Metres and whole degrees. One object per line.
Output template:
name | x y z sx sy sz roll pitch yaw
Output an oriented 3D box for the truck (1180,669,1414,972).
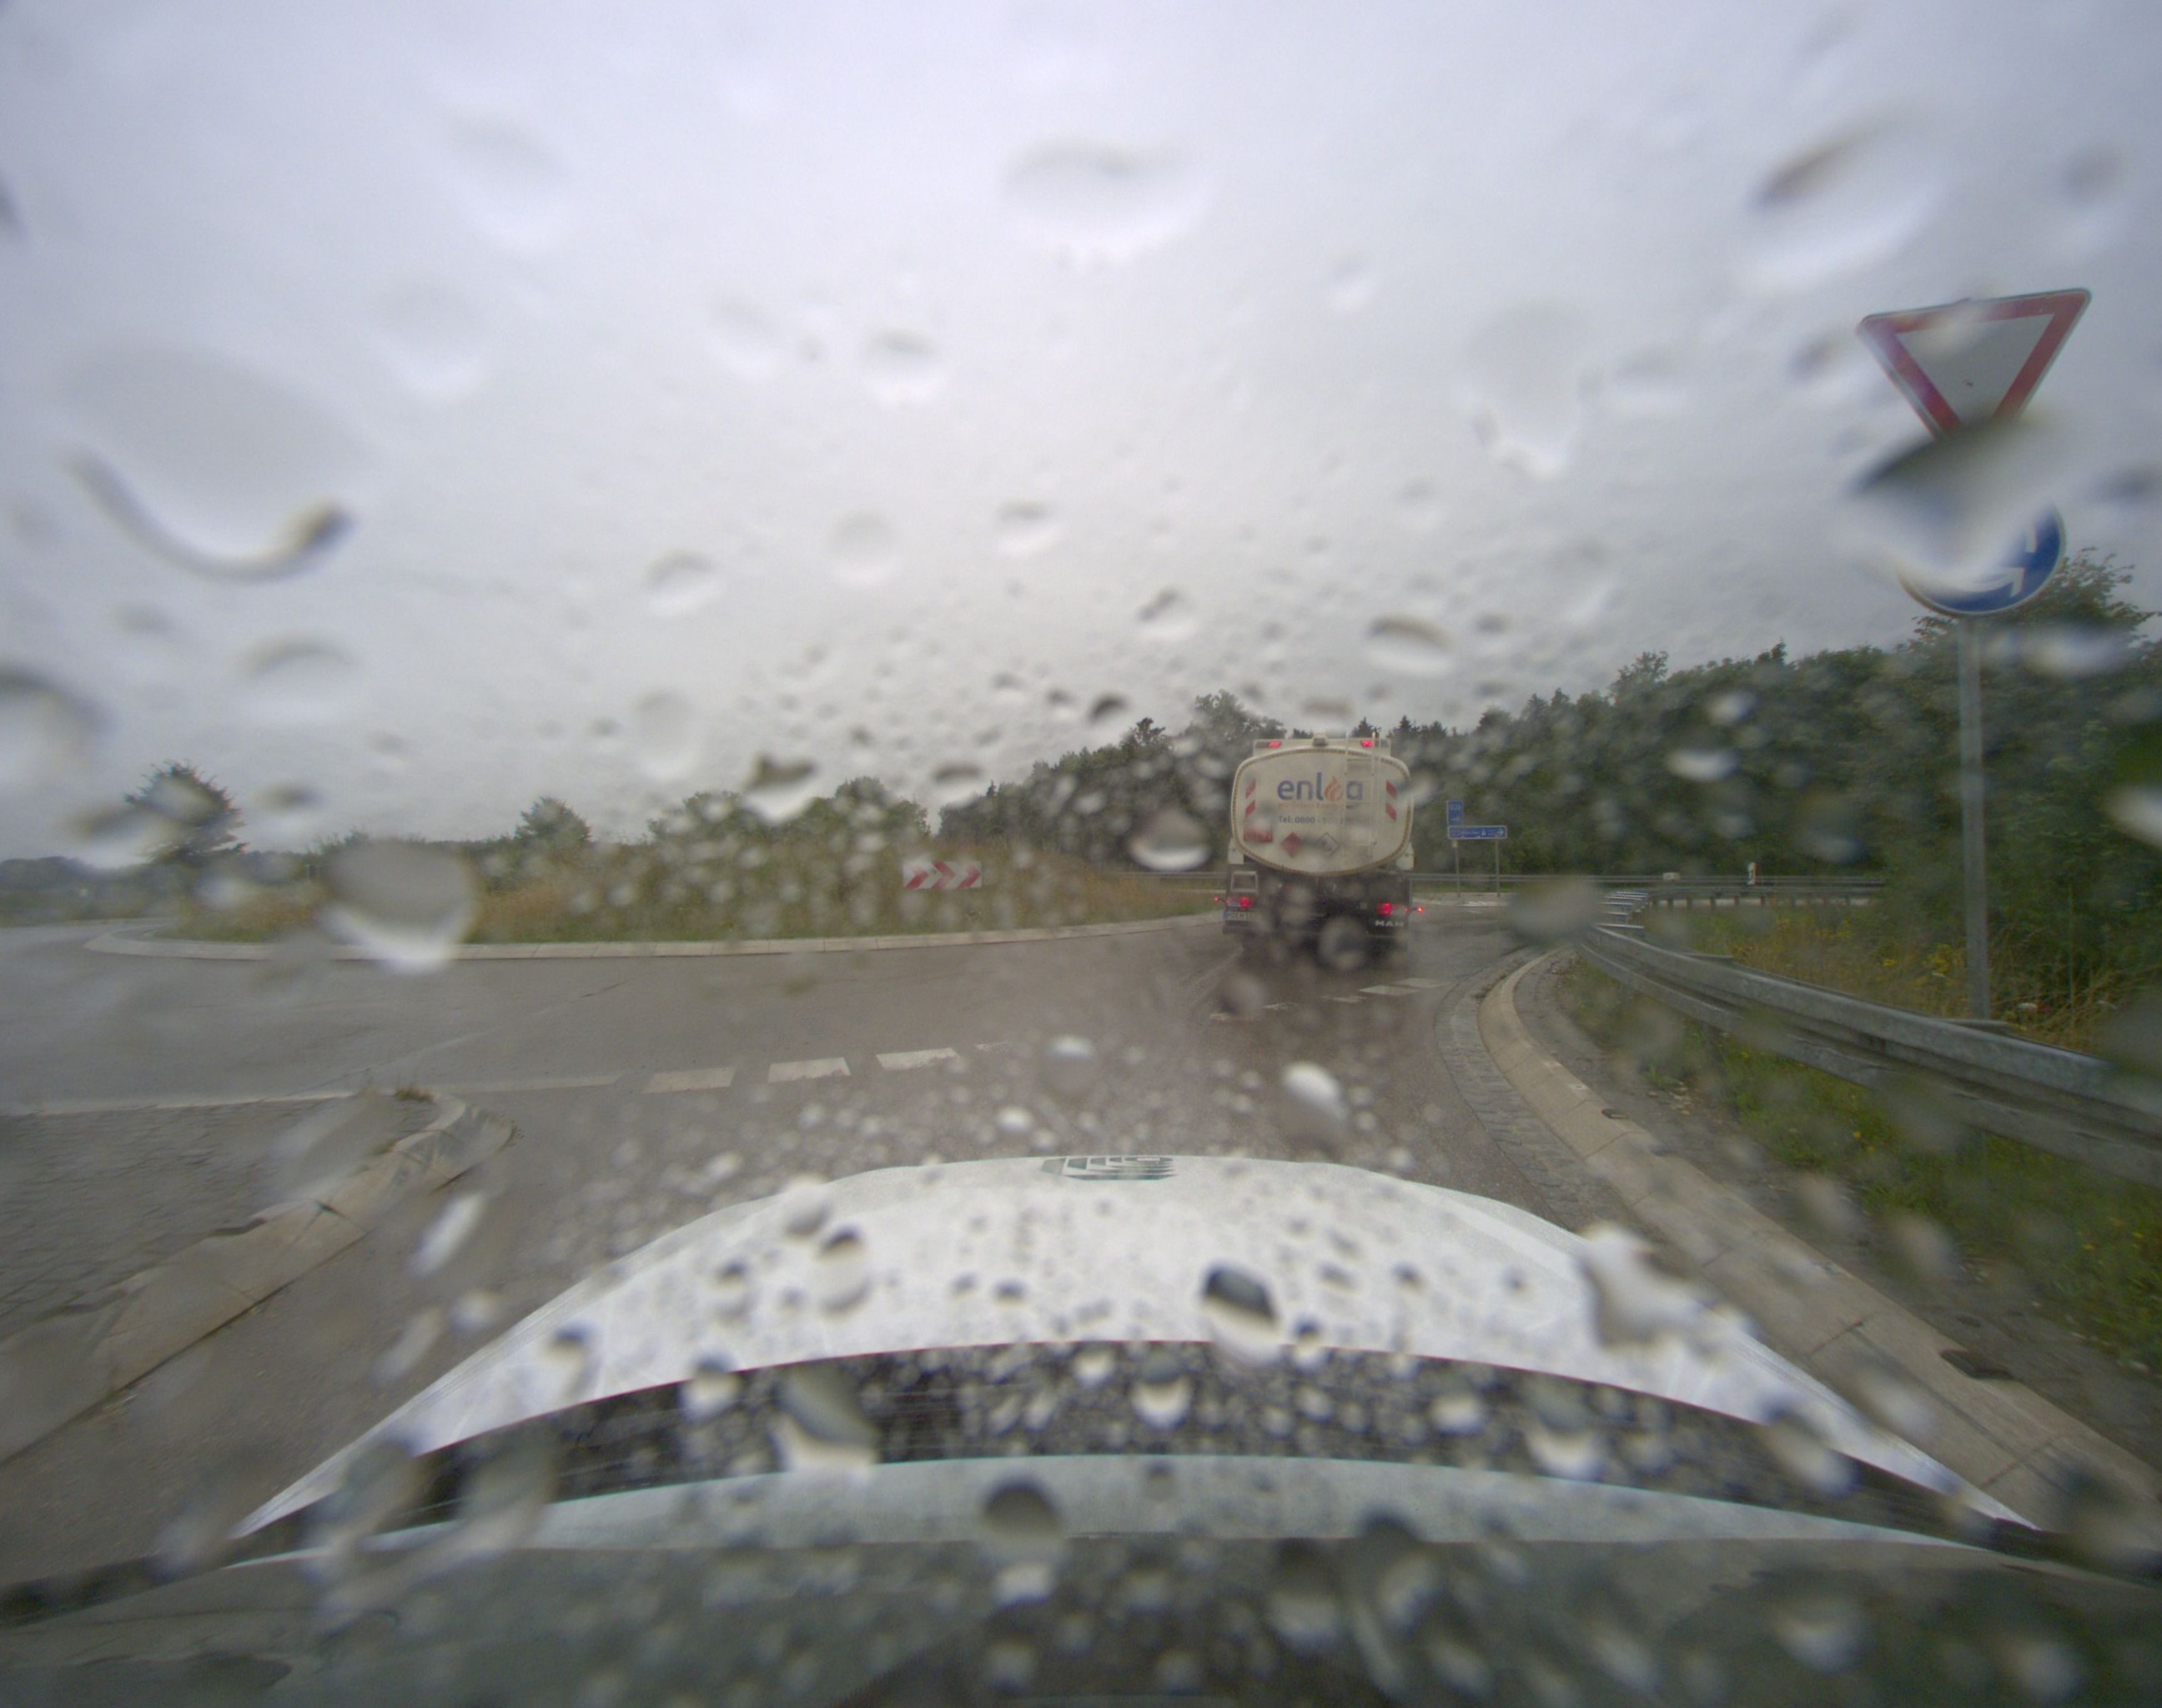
truck | 4.408 -0.376 14.992 3.013 3.852 8.867 0 -1 21
